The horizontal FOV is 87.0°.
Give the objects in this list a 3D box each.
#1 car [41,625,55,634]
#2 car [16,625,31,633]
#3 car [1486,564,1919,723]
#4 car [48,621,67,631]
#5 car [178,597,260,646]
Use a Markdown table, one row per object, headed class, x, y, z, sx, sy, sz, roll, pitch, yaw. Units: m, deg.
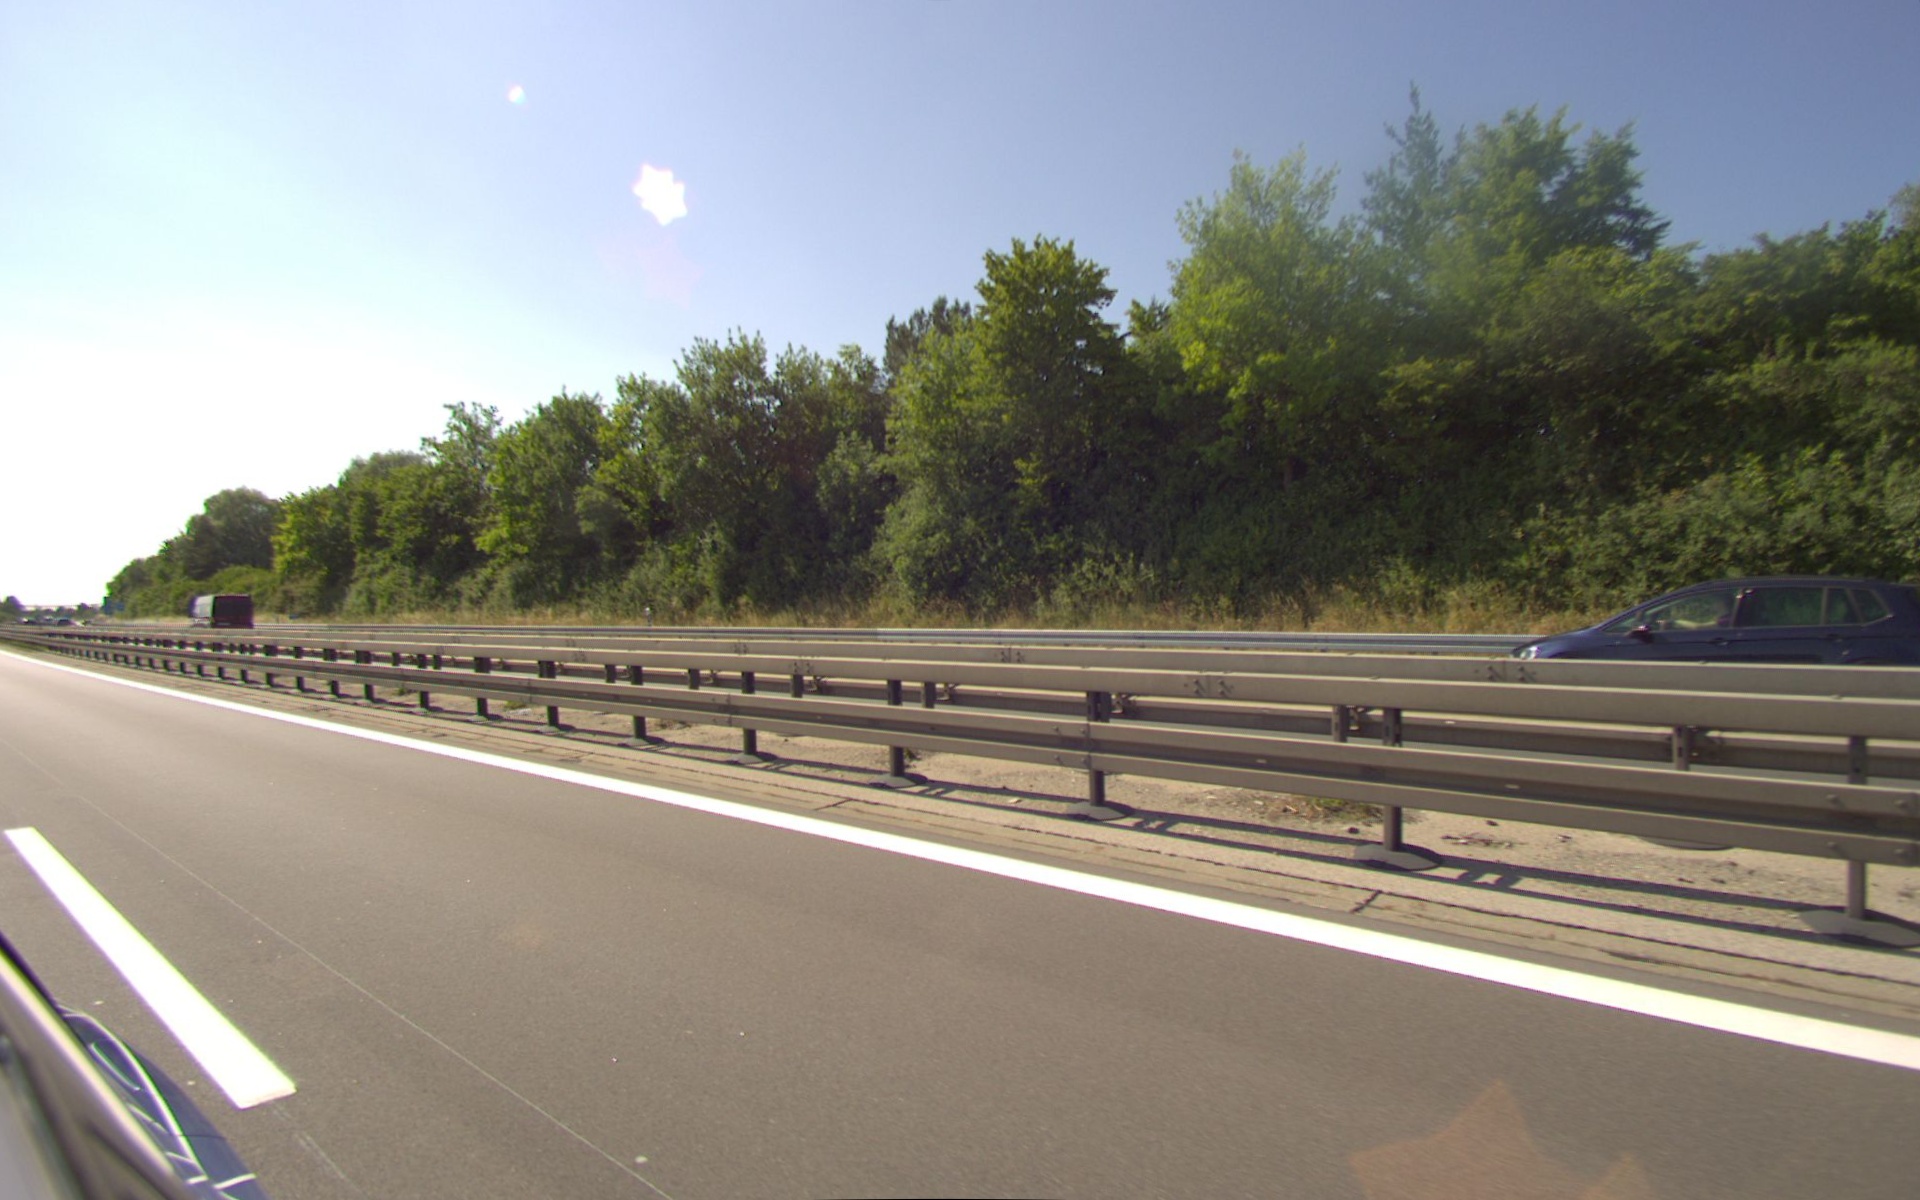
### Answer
| class | x | y | z | sx | sy | sz | roll | pitch | yaw |
| --- | --- | --- | --- | --- | --- | --- | --- | --- | --- |
| car | -150.019 | 4.850 | 166.522 | 1.560 | 1.473 | 4.156 | -2 | 0 | -44 |
| car | -169.162 | 5.249 | 182.801 | 4.001 | 1.433 | 1.644 | -1 | 0 | 44 |
| car | 8.908 | 0.435 | 11.558 | 4.847 | 1.567 | 1.792 | -1 | 0 | 41 |
| car | -129.987 | 3.714 | 145.767 | 4.001 | 1.433 | 1.644 | -1 | 0 | 44 |
| car | -42.841 | 1.226 | 58.449 | 6.592 | 2.614 | 2.517 | -2 | 0 | 42 |
